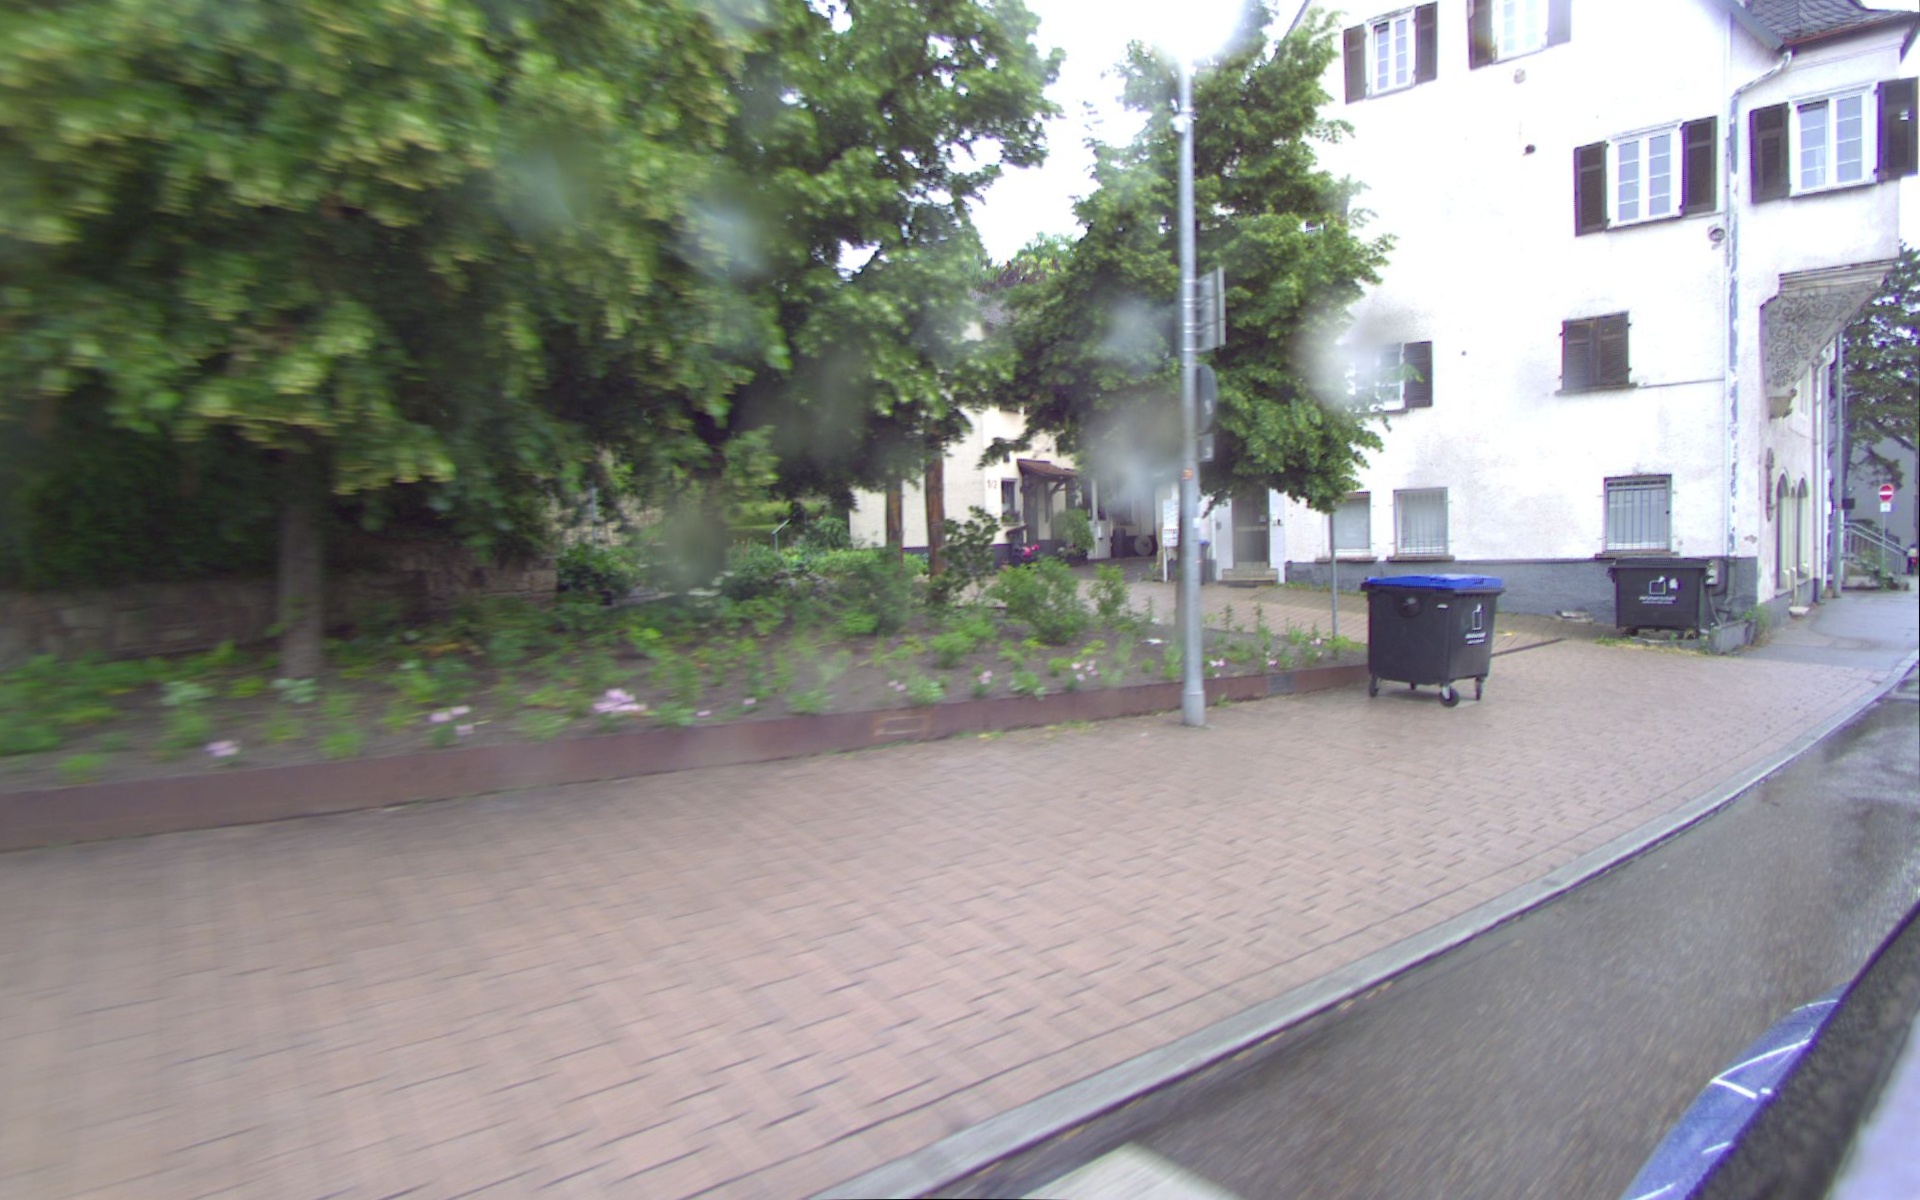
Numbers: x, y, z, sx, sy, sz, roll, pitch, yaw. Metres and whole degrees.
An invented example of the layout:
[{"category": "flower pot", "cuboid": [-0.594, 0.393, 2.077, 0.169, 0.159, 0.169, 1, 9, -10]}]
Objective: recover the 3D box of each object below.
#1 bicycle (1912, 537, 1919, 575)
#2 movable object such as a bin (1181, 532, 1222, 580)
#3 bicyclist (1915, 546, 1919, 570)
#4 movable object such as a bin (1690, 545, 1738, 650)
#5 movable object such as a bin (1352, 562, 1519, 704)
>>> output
[{"category": "bicycle", "cuboid": [47.033, -2.203, 49.191, 0.761, 1.032, 2.080, 17, 48, 33]}, {"category": "movable object such as a bin", "cuboid": [5.085, -0.931, 21.338, 0.655, 0.932, 0.586, 5, 10, 40]}, {"category": "bicyclist", "cuboid": [46.934, -2.330, 48.988, 0.683, 1.513, 1.030, 15, 45, 36]}, {"category": "movable object such as a bin", "cuboid": [10.959, -0.046, 14.719, 0.409, 1.458, 0.639, 0, 5, 24]}, {"category": "movable object such as a bin", "cuboid": [5.014, 0.292, 10.700, 1.164, 1.328, 1.158, -3, 5, -36]}]
